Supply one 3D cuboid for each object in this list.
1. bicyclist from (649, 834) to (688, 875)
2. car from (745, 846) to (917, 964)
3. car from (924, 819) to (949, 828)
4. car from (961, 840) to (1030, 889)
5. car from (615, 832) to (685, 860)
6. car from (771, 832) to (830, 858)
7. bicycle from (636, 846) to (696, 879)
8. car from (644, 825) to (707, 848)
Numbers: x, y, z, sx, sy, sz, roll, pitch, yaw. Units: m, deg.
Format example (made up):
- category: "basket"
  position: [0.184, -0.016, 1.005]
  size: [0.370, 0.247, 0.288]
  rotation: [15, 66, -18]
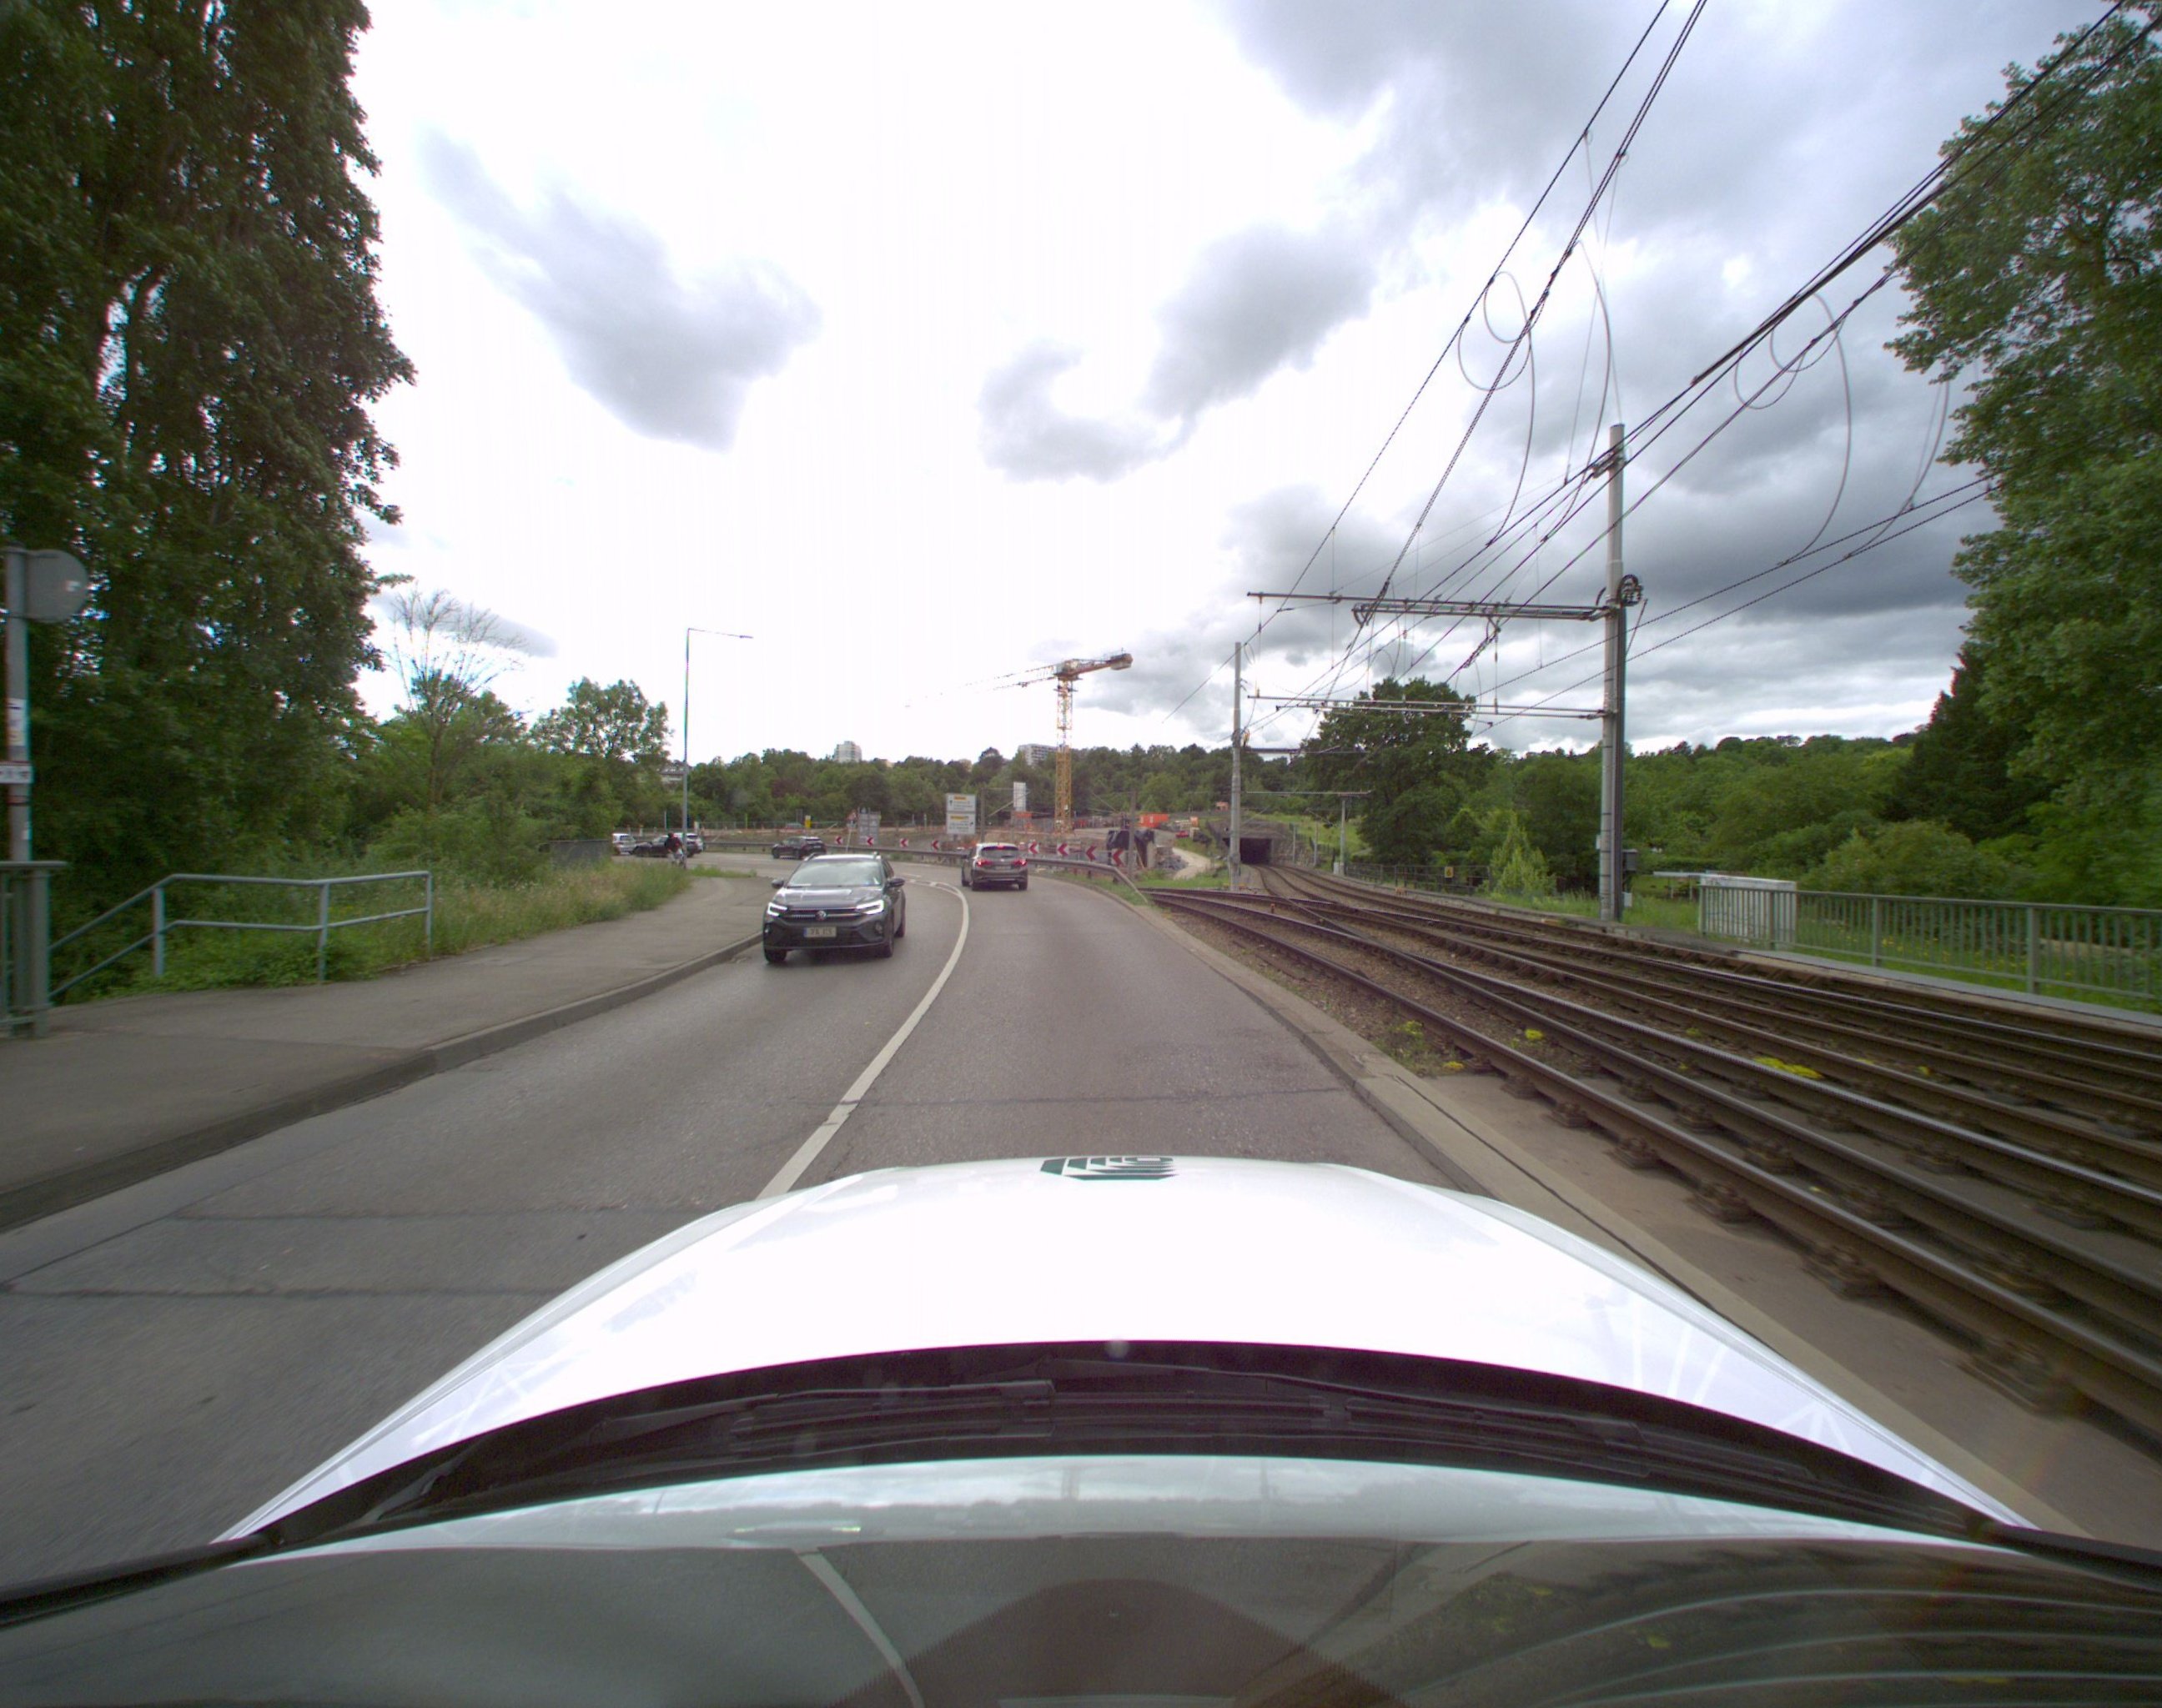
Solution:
- category: "bicyclist"
  position: [-15.112, 0.013, 29.843]
  size: [0.710, 1.430, 0.981]
  rotation: [2, 5, 40]
- category: "car"
  position: [-3.729, 0.656, 12.857]
  size: [1.827, 1.509, 3.992]
  rotation: [-1, 1, -6]
- category: "car"
  position: [-24.960, -5.238, 140.664]
  size: [3.950, 1.409, 1.811]
  rotation: [2, 0, 29]
- category: "car"
  position: [-2.931, 0.306, 27.302]
  size: [1.832, 1.510, 3.982]
  rotation: [0, 1, -13]
- category: "car"
  position: [-28.661, -0.559, 54.157]
  size: [3.954, 1.552, 1.810]
  rotation: [2, 6, 20]
- category: "car"
  position: [-18.353, -0.600, 53.251]
  size: [4.254, 1.606, 1.696]
  rotation: [1, 2, 40]
- category: "bicycle"
  position: [-15.332, 0.291, 30.051]
  size: [2.607, 1.029, 0.994]
  rotation: [2, 5, 40]
- category: "car"
  position: [-30.012, -1.298, 60.293]
  size: [4.259, 1.606, 1.694]
  rotation: [0, 1, 20]
